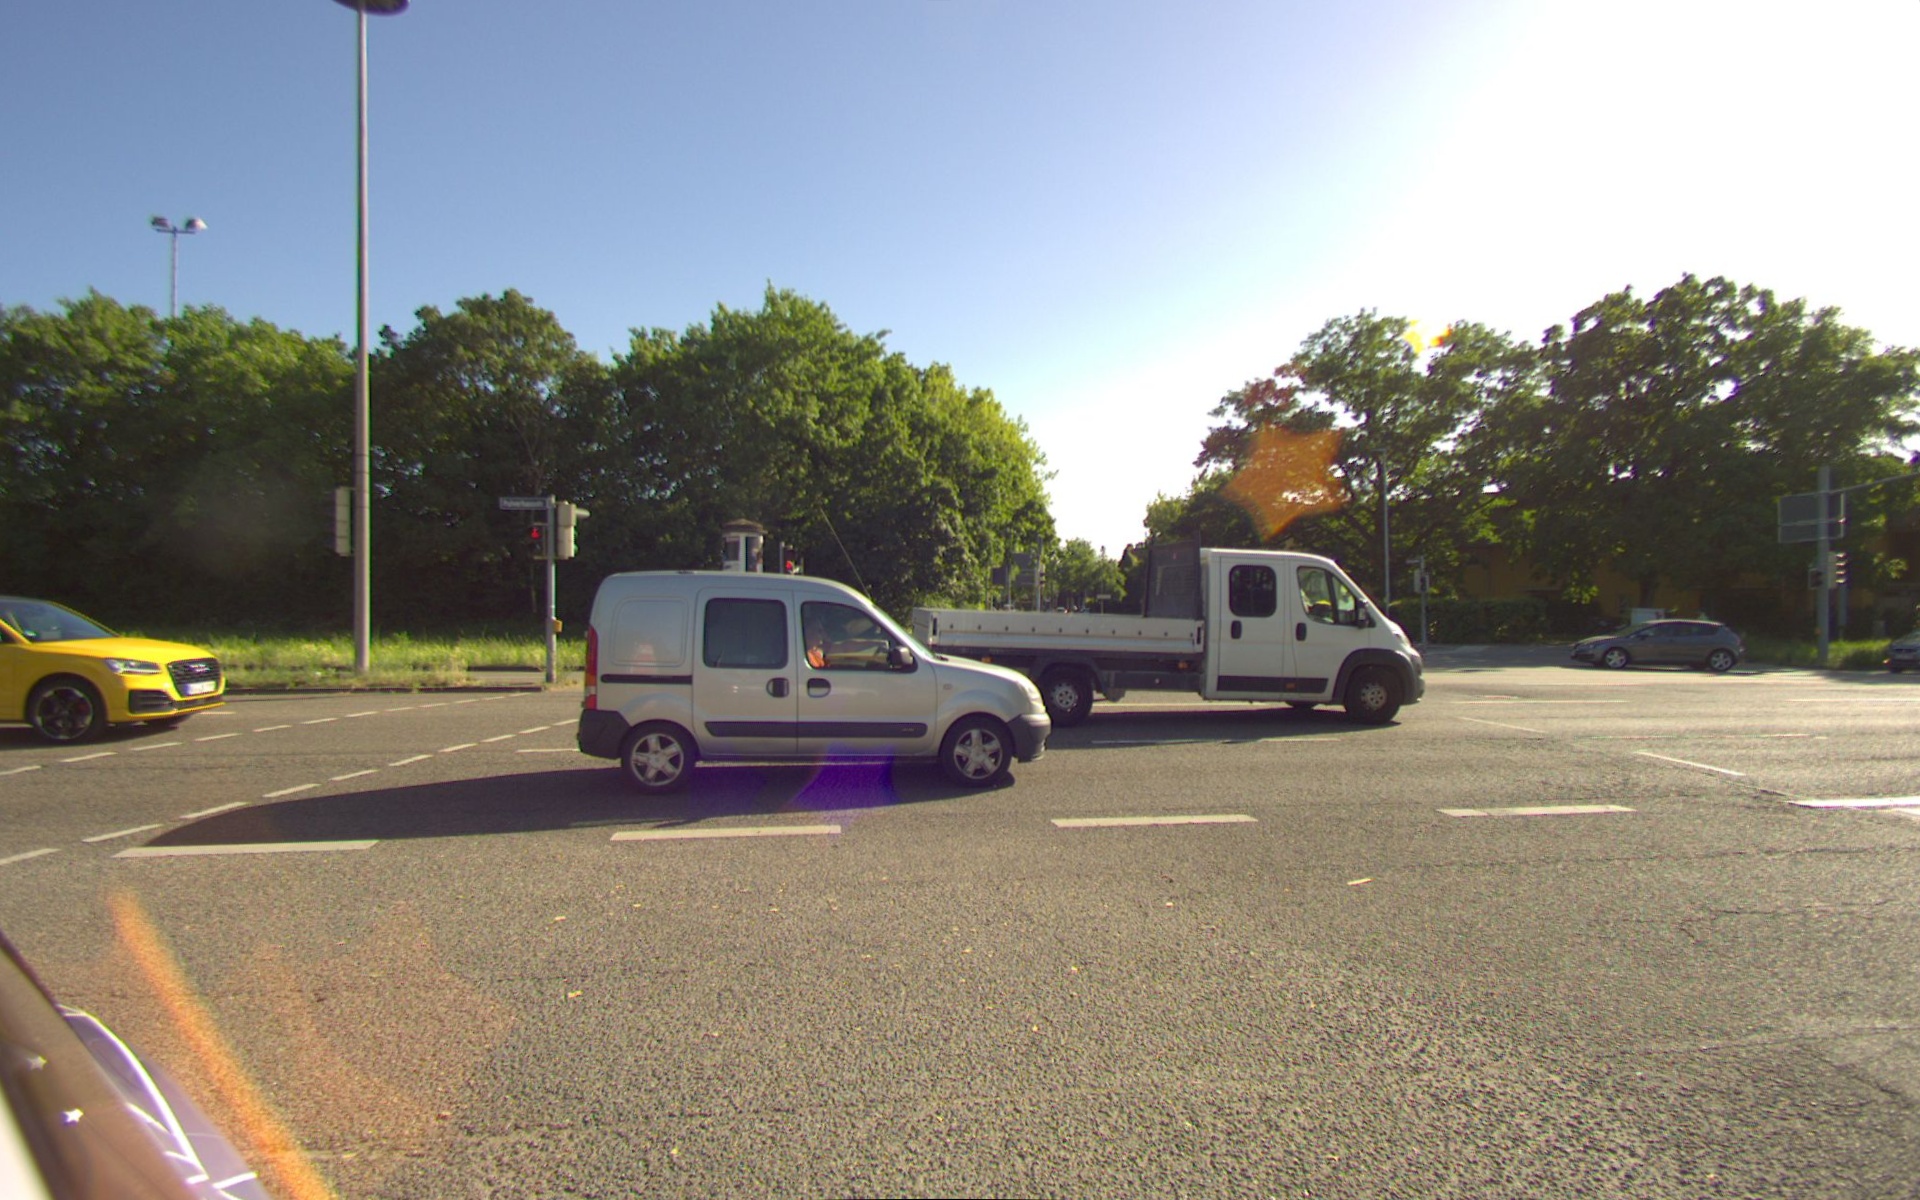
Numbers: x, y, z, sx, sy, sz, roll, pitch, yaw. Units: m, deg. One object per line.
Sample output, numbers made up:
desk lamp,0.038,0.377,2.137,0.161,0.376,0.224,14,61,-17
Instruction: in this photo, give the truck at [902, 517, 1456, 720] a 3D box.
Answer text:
truck,2.693,0.258,13.174,6.666,2.327,2.196,1,-1,-8

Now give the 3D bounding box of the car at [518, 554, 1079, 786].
car,-1.327,0.524,8.836,4.295,1.741,1.925,1,1,-9

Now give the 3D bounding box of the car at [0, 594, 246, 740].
car,-10.314,0.657,10.822,4.055,1.451,1.696,1,0,-8

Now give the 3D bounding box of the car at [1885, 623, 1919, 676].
car,28.156,1.385,28.197,3.541,1.443,1.555,1,-1,-7

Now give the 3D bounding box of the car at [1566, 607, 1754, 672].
car,20.198,1.106,29.392,4.070,1.665,1.798,1,1,17
